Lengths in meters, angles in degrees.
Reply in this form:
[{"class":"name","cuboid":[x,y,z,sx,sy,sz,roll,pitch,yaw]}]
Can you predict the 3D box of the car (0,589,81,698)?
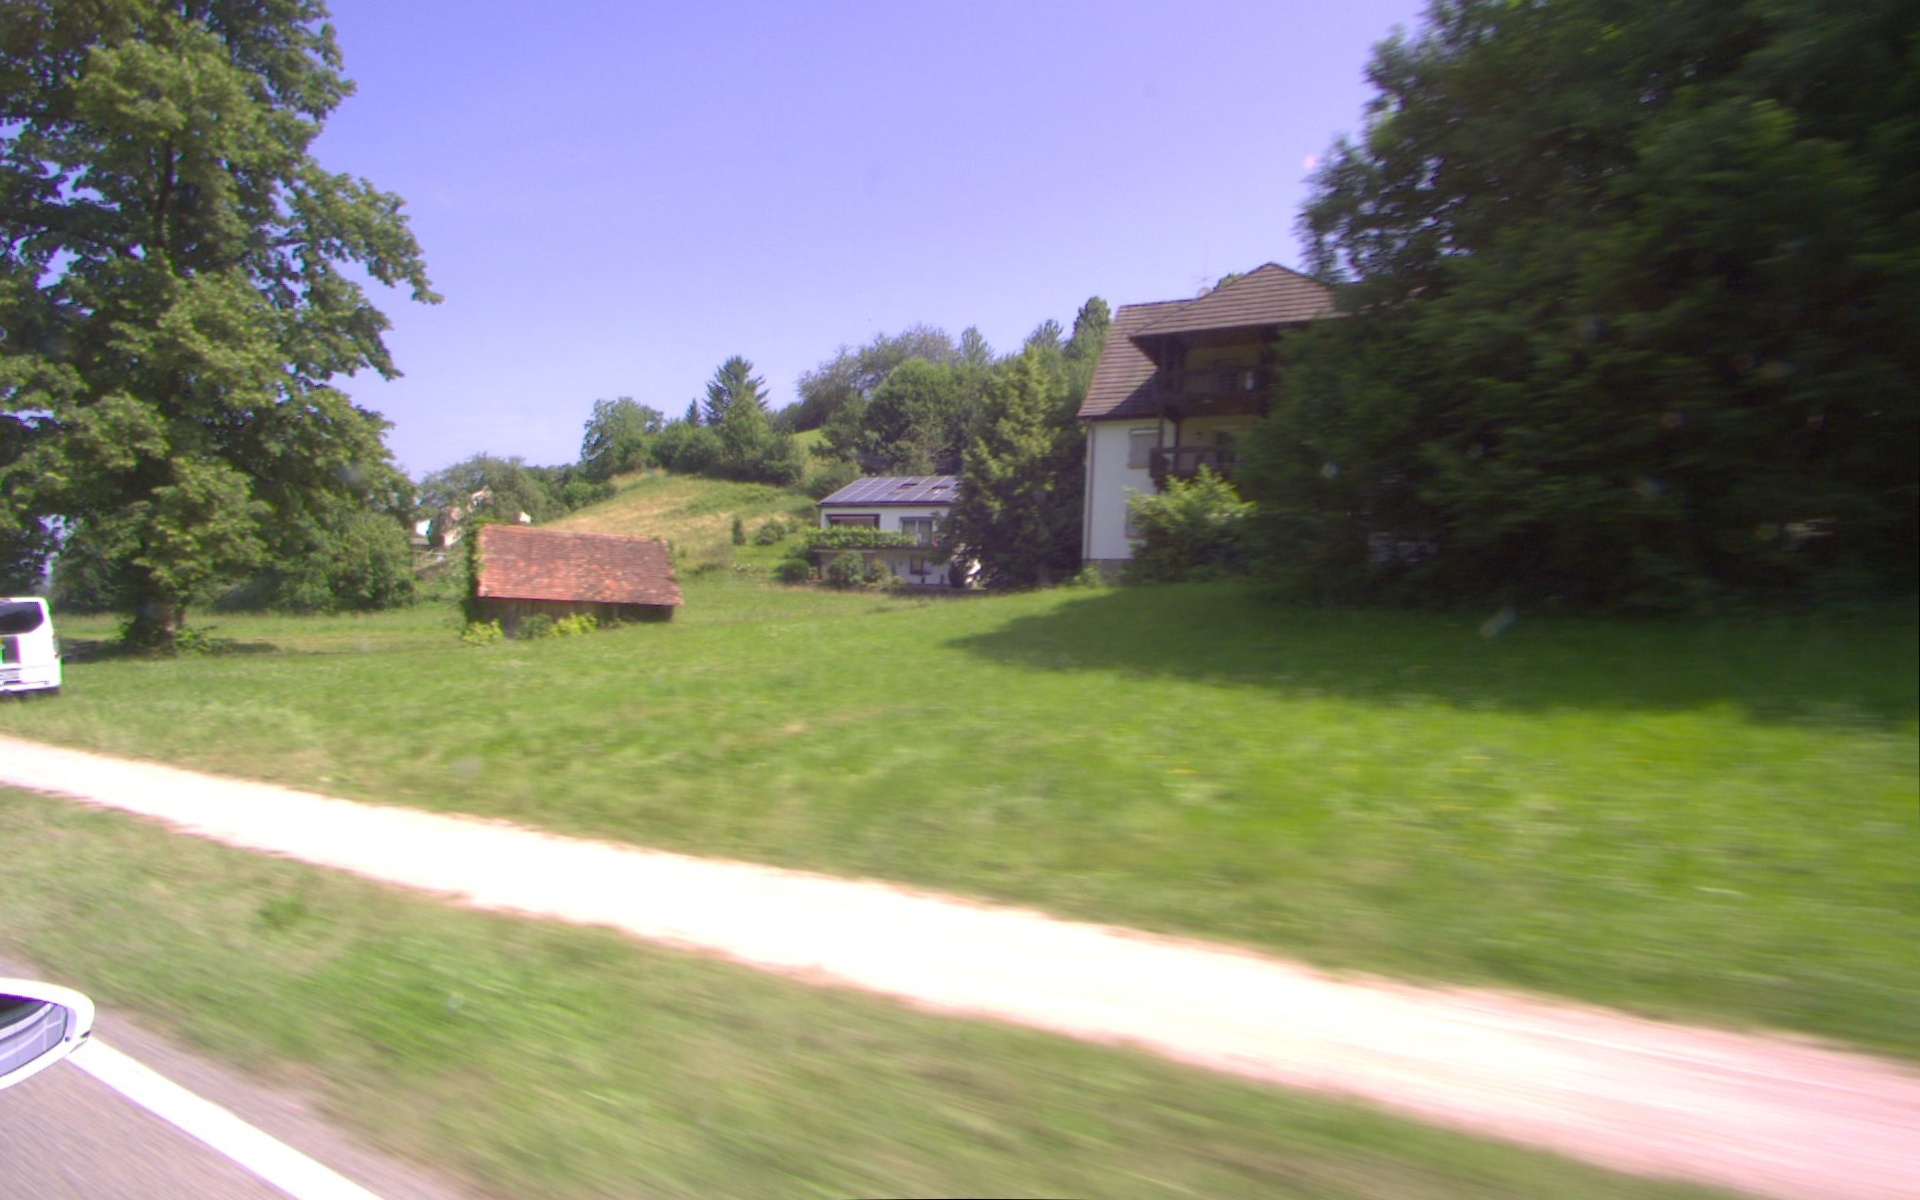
[{"class":"car","cuboid":[-18.920,0.797,18.954,4.797,1.874,1.994,0,4,31]}]
